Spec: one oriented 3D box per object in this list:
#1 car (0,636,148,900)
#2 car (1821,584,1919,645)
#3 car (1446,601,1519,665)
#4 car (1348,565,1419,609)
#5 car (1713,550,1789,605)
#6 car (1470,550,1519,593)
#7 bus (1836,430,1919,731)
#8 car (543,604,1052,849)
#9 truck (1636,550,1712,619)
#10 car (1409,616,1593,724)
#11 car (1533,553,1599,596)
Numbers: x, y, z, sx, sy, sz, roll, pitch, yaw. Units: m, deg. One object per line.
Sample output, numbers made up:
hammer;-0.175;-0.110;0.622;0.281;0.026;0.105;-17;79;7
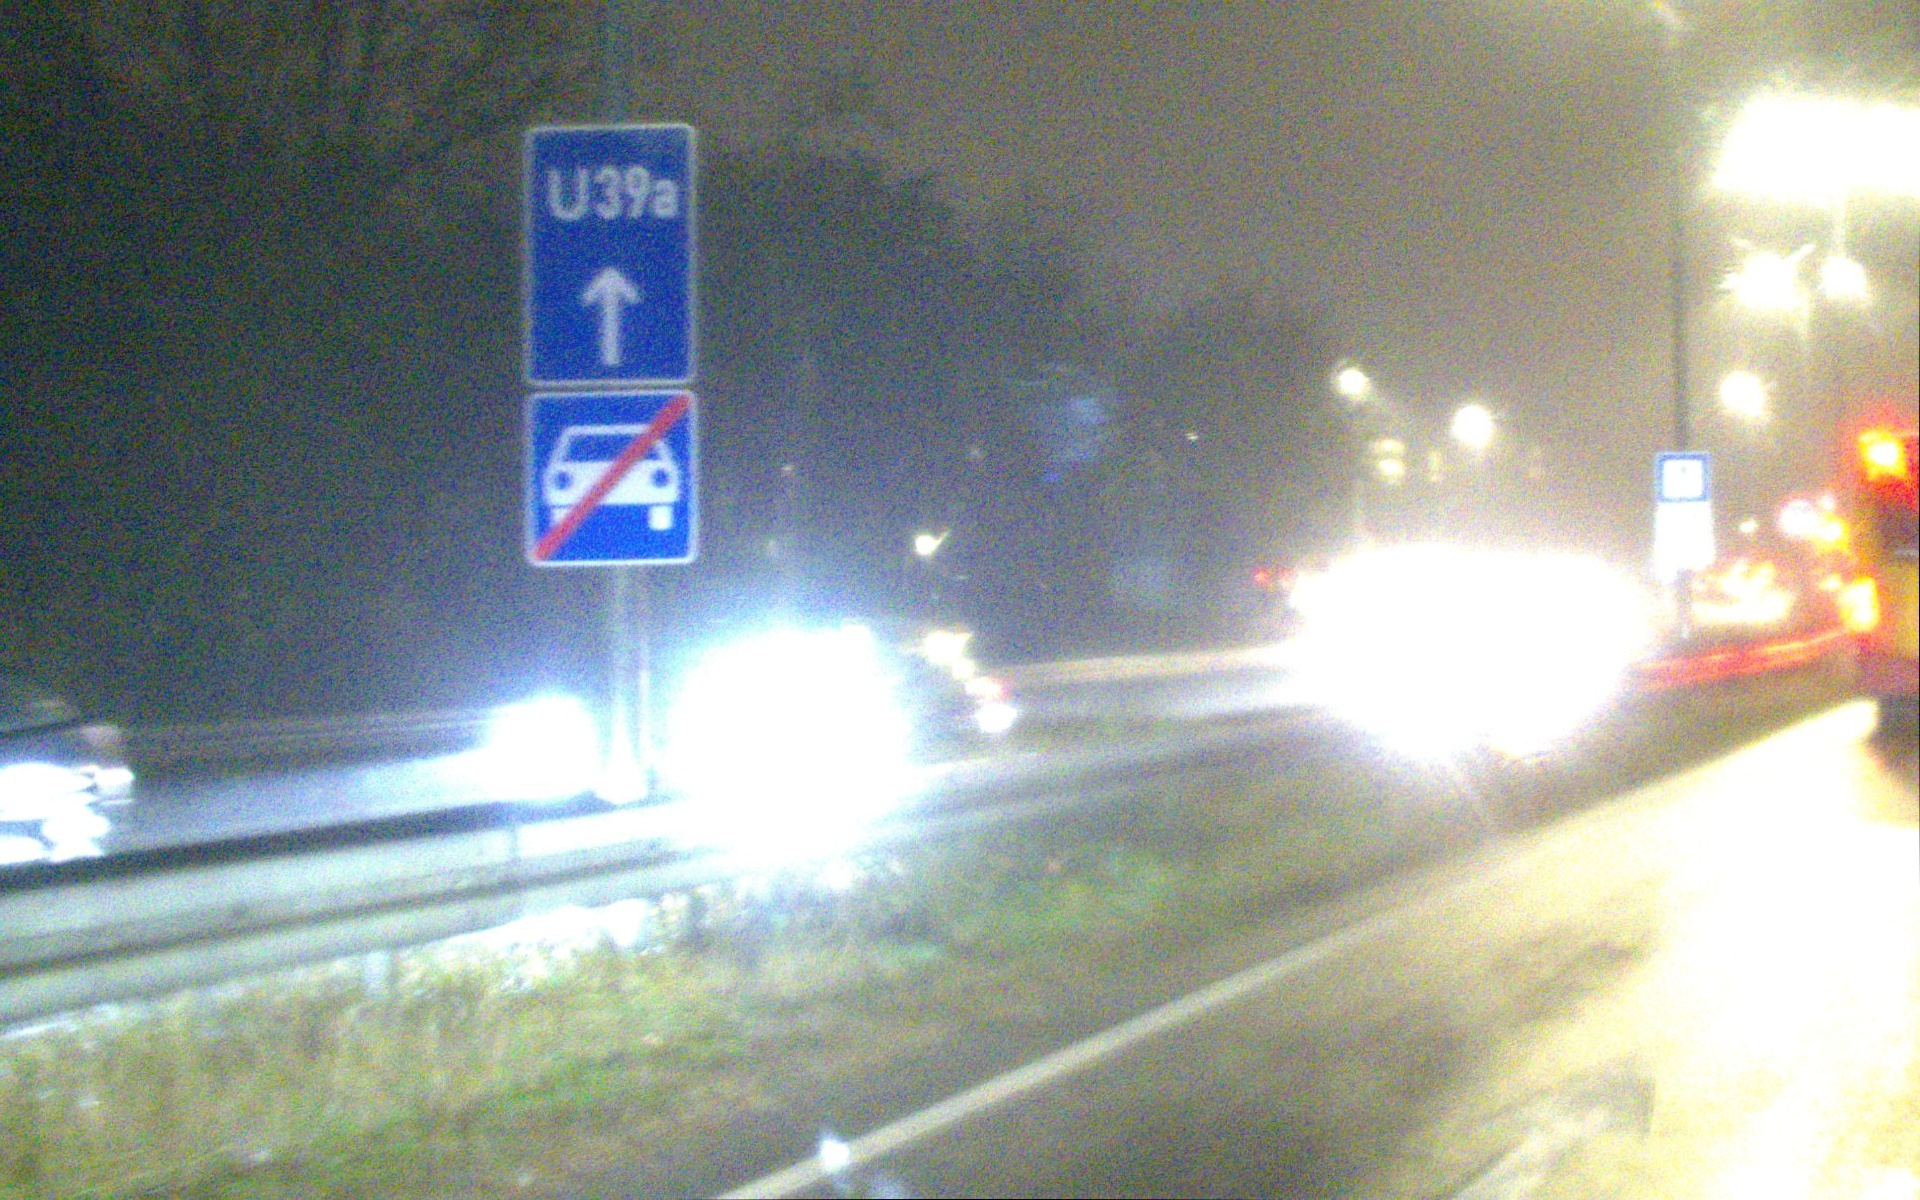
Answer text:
car;-6.093;0.937;17.799;1.612;1.377;4.160;-3;-1;20
car;30.995;0.490;117.031;2.211;2.007;4.000;-1;0;-3
car;17.157;1.065;112.769;1.995;2.007;3.997;1;0;13
car;20.301;-0.623;165.069;1.993;2.007;4.001;1;0;-15
car;30.233;-0.847;131.541;1.993;2.007;4.000;1;0;1
car;25.718;-1.360;165.509;2.122;2.007;3.999;1;0;7
bus;11.510;-0.206;38.404;2.818;3.014;8.679;0;0;18
car;-0.907;0.731;22.256;1.612;1.377;4.741;0;0;20
truck;27.159;-0.616;130.881;1.856;2.385;4.779;-2;3;0
car;8.039;1.006;50.786;1.857;1.471;4.774;-1;0;19
car;25.800;-1.106;146.565;1.993;1.680;4.001;2;2;-1
